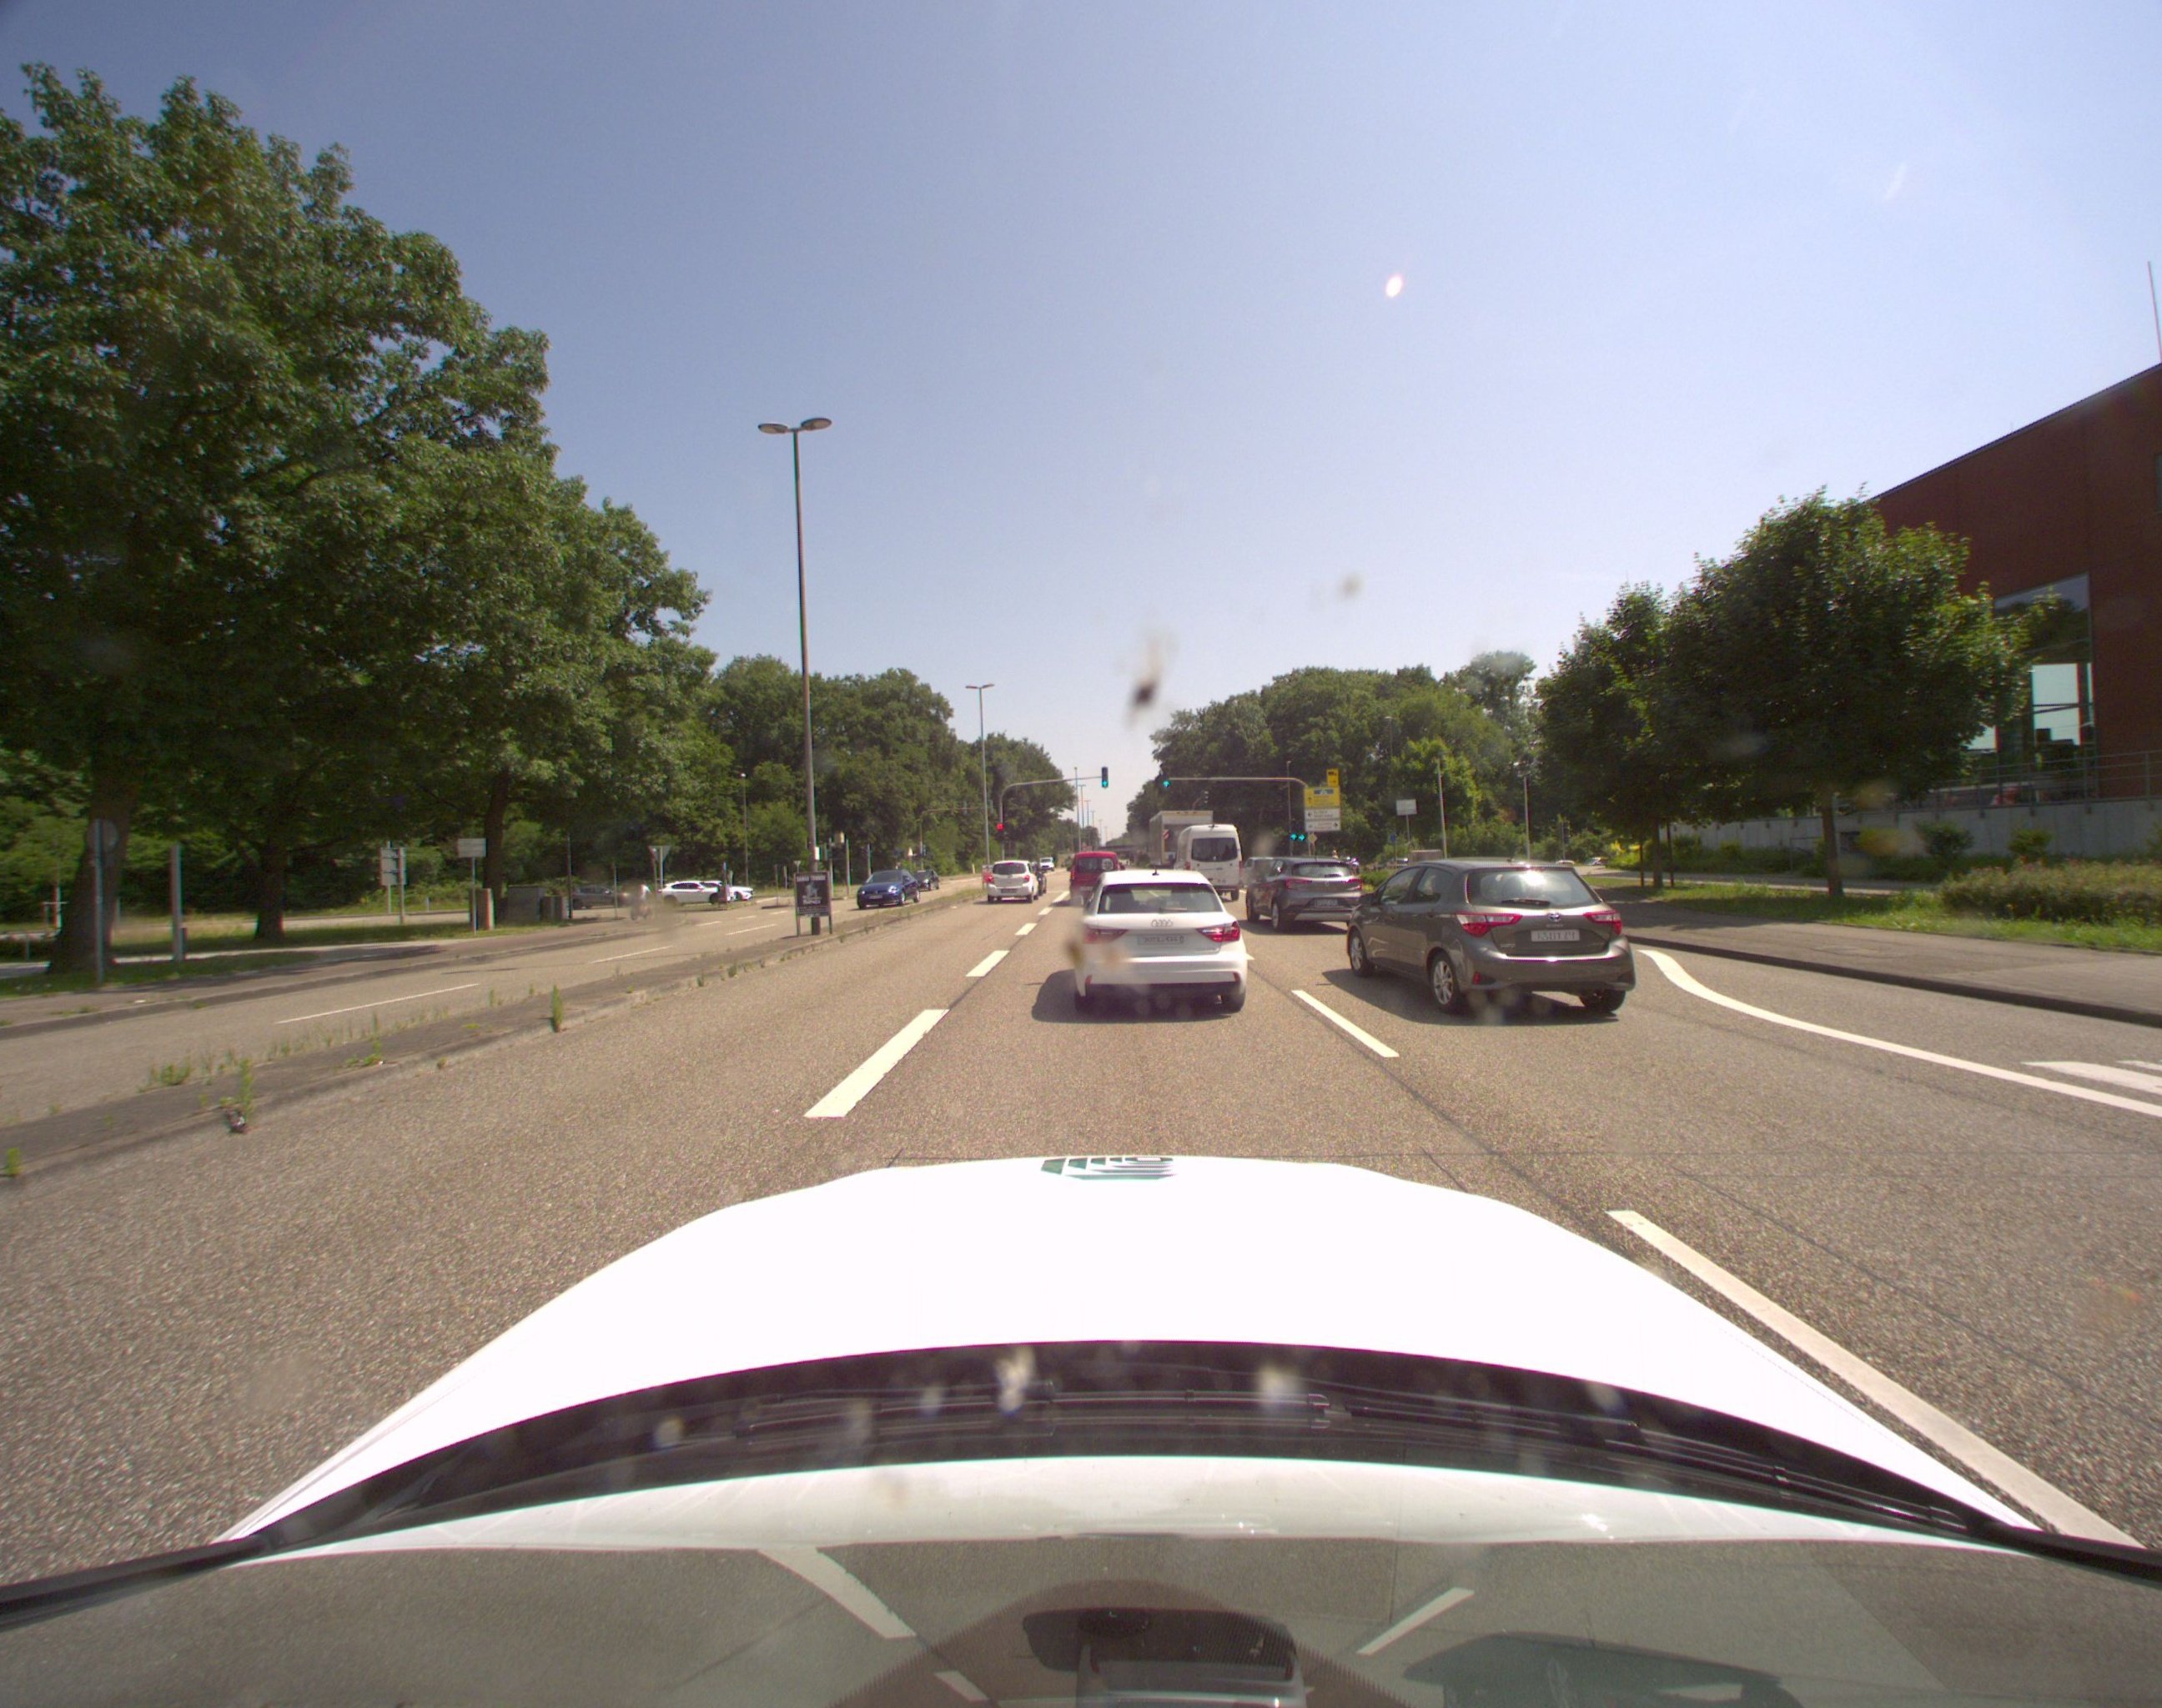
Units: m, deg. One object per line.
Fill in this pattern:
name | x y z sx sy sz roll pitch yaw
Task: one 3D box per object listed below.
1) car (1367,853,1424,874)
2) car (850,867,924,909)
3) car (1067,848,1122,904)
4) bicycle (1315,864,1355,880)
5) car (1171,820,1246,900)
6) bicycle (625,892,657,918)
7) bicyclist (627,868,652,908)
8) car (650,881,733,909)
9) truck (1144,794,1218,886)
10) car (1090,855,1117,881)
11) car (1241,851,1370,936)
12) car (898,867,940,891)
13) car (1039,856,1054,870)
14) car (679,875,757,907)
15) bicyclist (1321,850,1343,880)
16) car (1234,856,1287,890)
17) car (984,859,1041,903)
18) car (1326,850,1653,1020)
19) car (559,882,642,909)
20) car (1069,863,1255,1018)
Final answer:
car | 25.478 0.765 66.005 3.968 1.464 1.677 -2 -1 5
car | -7.589 1.293 32.251 1.798 1.335 4.001 -6 0 1
car | 0.445 0.724 28.068 1.706 1.748 4.091 -1 0 0
bicycle | 12.619 0.902 40.537 0.604 0.766 1.805 -2 -1 -43
car | 4.567 0.219 29.873 2.024 2.644 4.846 -1 0 1
bicycle | -18.618 2.148 34.481 0.617 0.969 1.655 -2 -1 -9
bicyclist | -18.636 1.427 34.410 0.607 1.630 0.920 -2 -1 -9
car | -24.652 2.590 51.696 4.365 1.681 1.806 0 -1 -7
truck | 5.335 -0.650 45.580 3.077 4.434 11.585 -1 0 2
car | 1.498 0.908 54.617 1.706 1.631 4.091 -1 0 0
car | 4.749 0.776 17.827 1.706 1.593 4.091 -1 0 0
car | -10.829 1.669 54.603 1.798 1.335 4.001 -6 0 1
car | -4.866 1.270 116.268 1.866 1.861 4.001 -2 0 1
car | -24.720 2.520 55.521 4.366 1.681 1.806 -6 -1 -7
bicyclist | 12.525 0.564 40.619 0.602 1.439 0.819 -2 -1 -43
car | 8.743 0.903 40.054 1.706 1.546 4.091 -1 0 0
car | -2.485 0.953 30.432 1.706 1.493 4.091 -1 0 0
car | 4.269 0.734 9.328 1.706 1.478 4.091 1 0 0
car | -32.346 2.766 54.923 4.370 1.681 1.804 0 -1 -10
car | 0.768 0.821 9.621 1.706 1.386 4.091 -1 0 0
